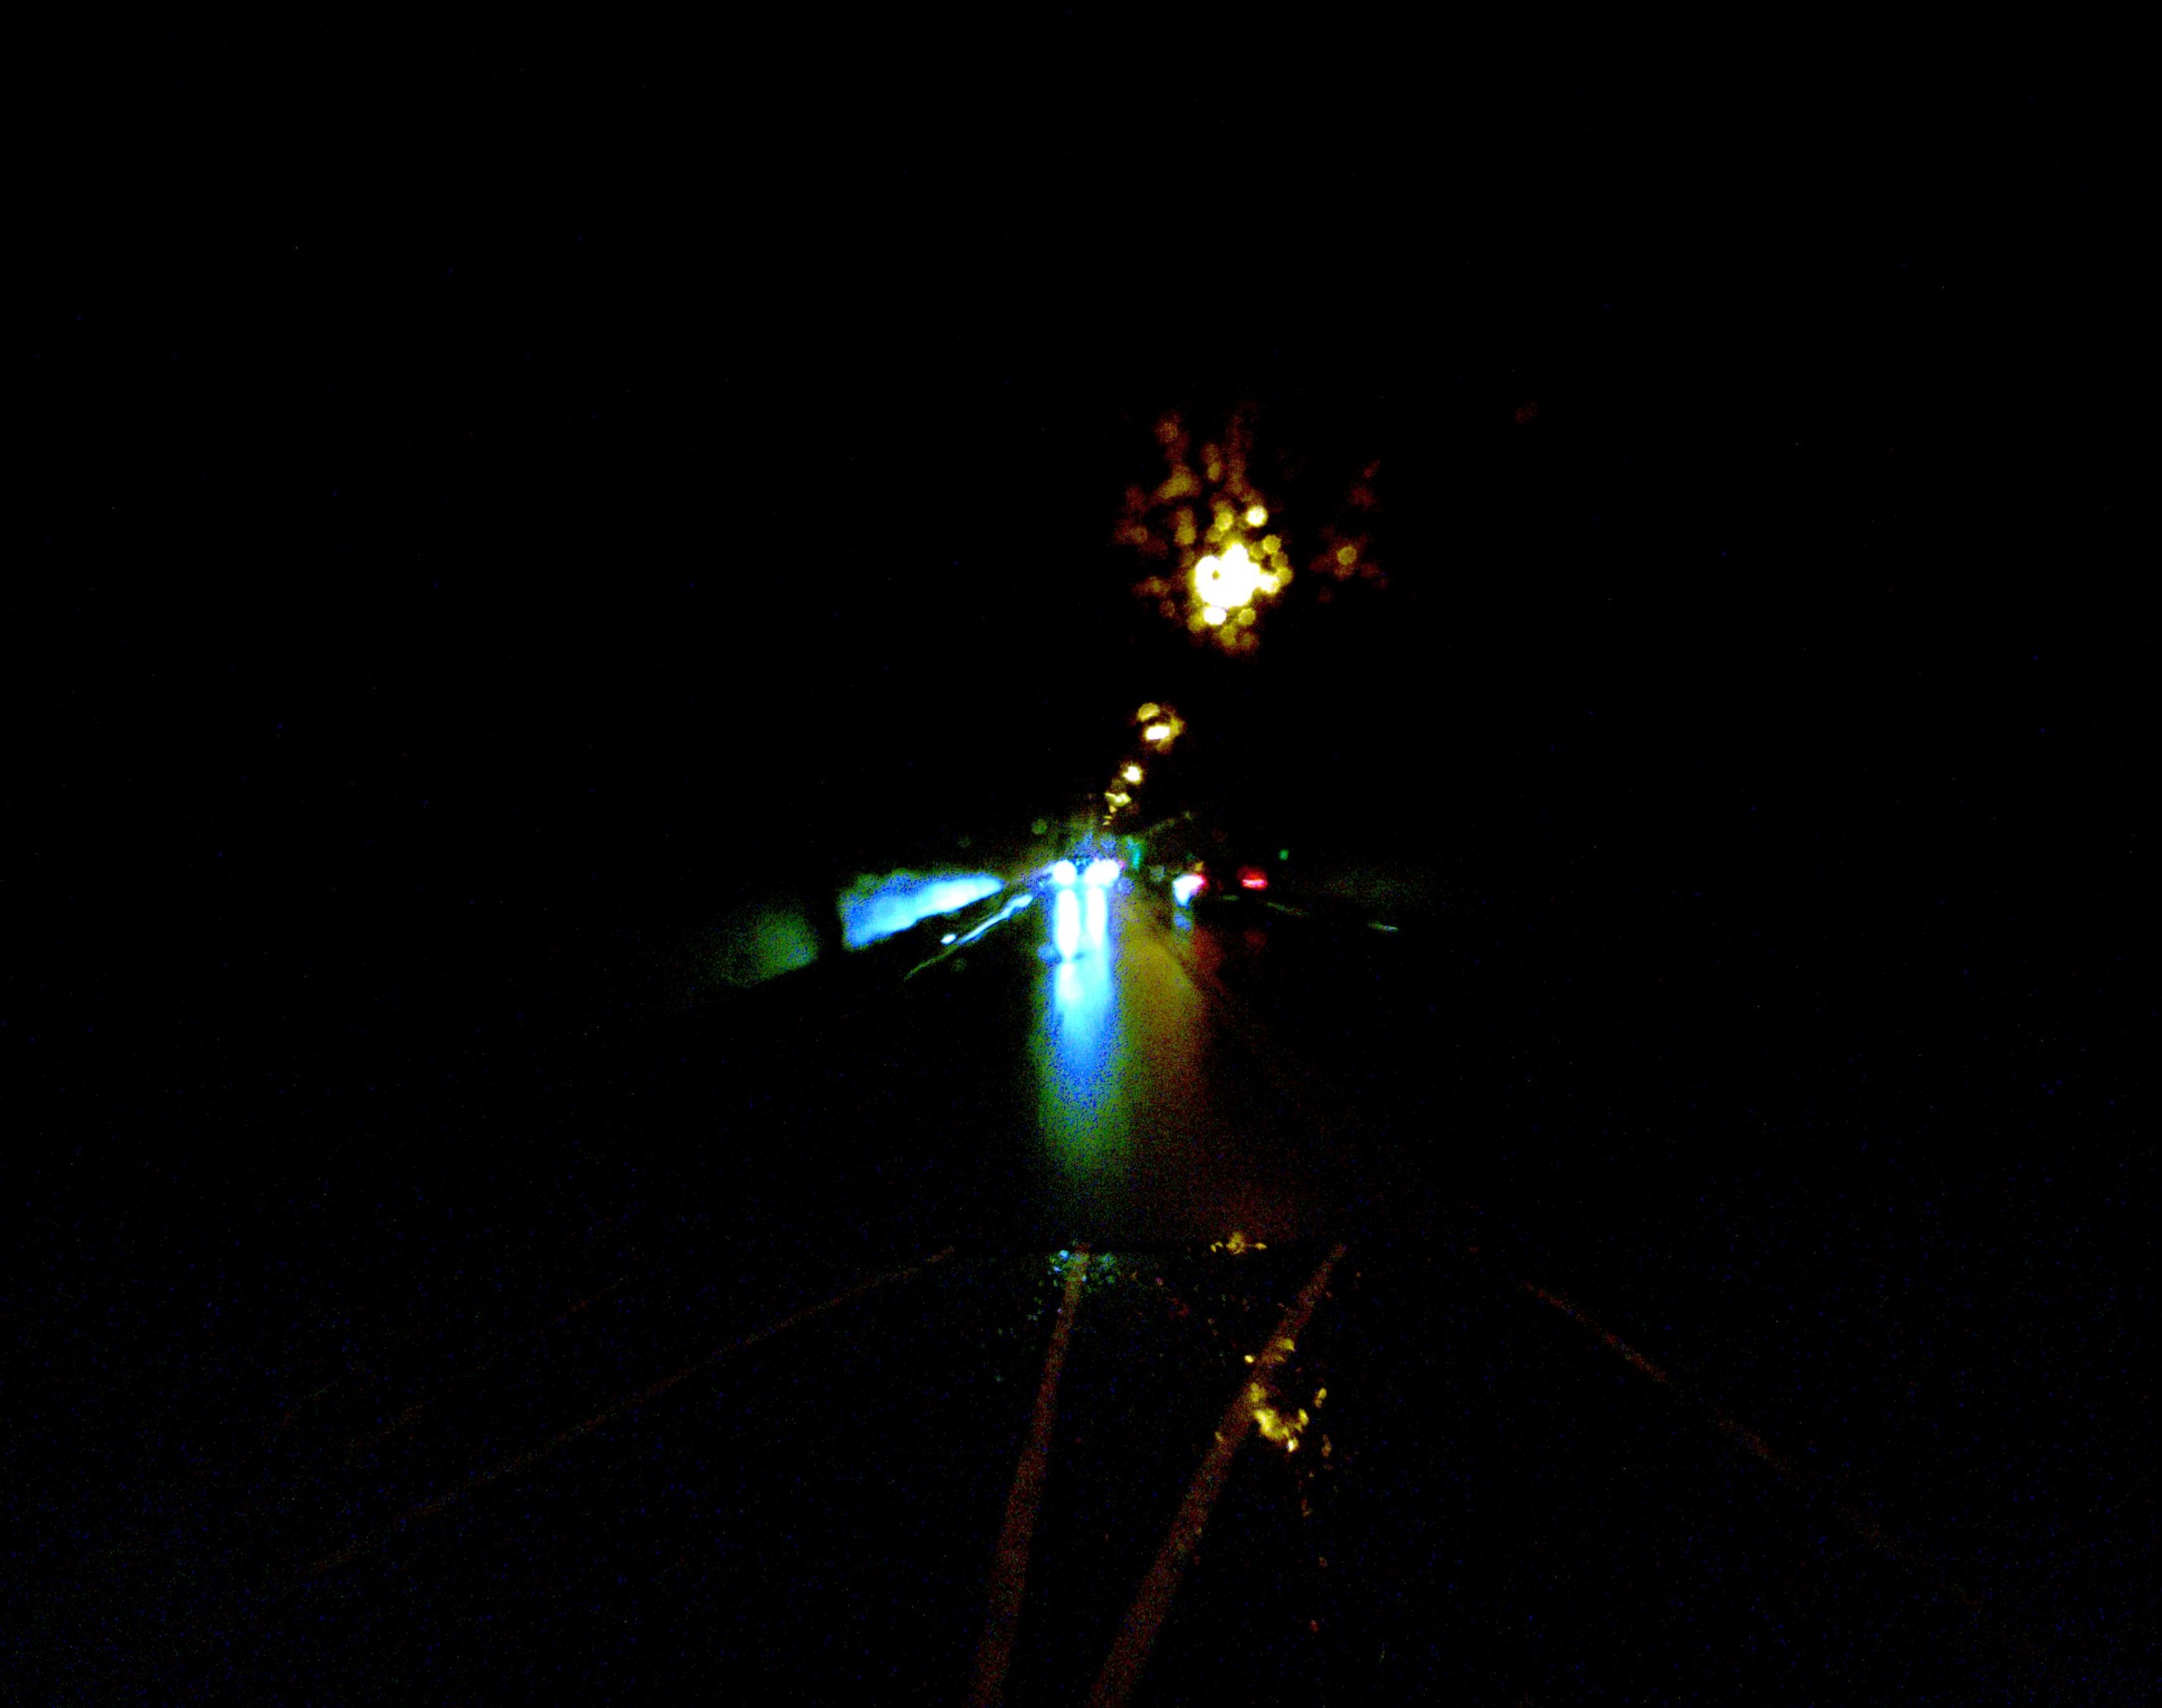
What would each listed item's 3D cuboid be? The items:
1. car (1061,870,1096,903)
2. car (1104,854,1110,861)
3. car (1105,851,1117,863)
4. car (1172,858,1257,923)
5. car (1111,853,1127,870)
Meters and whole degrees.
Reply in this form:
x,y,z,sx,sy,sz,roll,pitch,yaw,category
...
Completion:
x,y,z,sx,sy,sz,roll,pitch,yaw,category
-0.068,1.586,38.104,1.627,1.487,3.585,-1,0,1,car
6.809,0.929,198.878,1.524,1.540,4.055,-1,-1,1,car
4.816,0.533,120.880,1.845,1.888,4.609,-1,0,1,car
3.350,0.870,19.651,1.639,1.526,3.646,-1,0,1,car
4.380,0.865,88.037,1.765,1.888,4.609,-1,0,1,car
